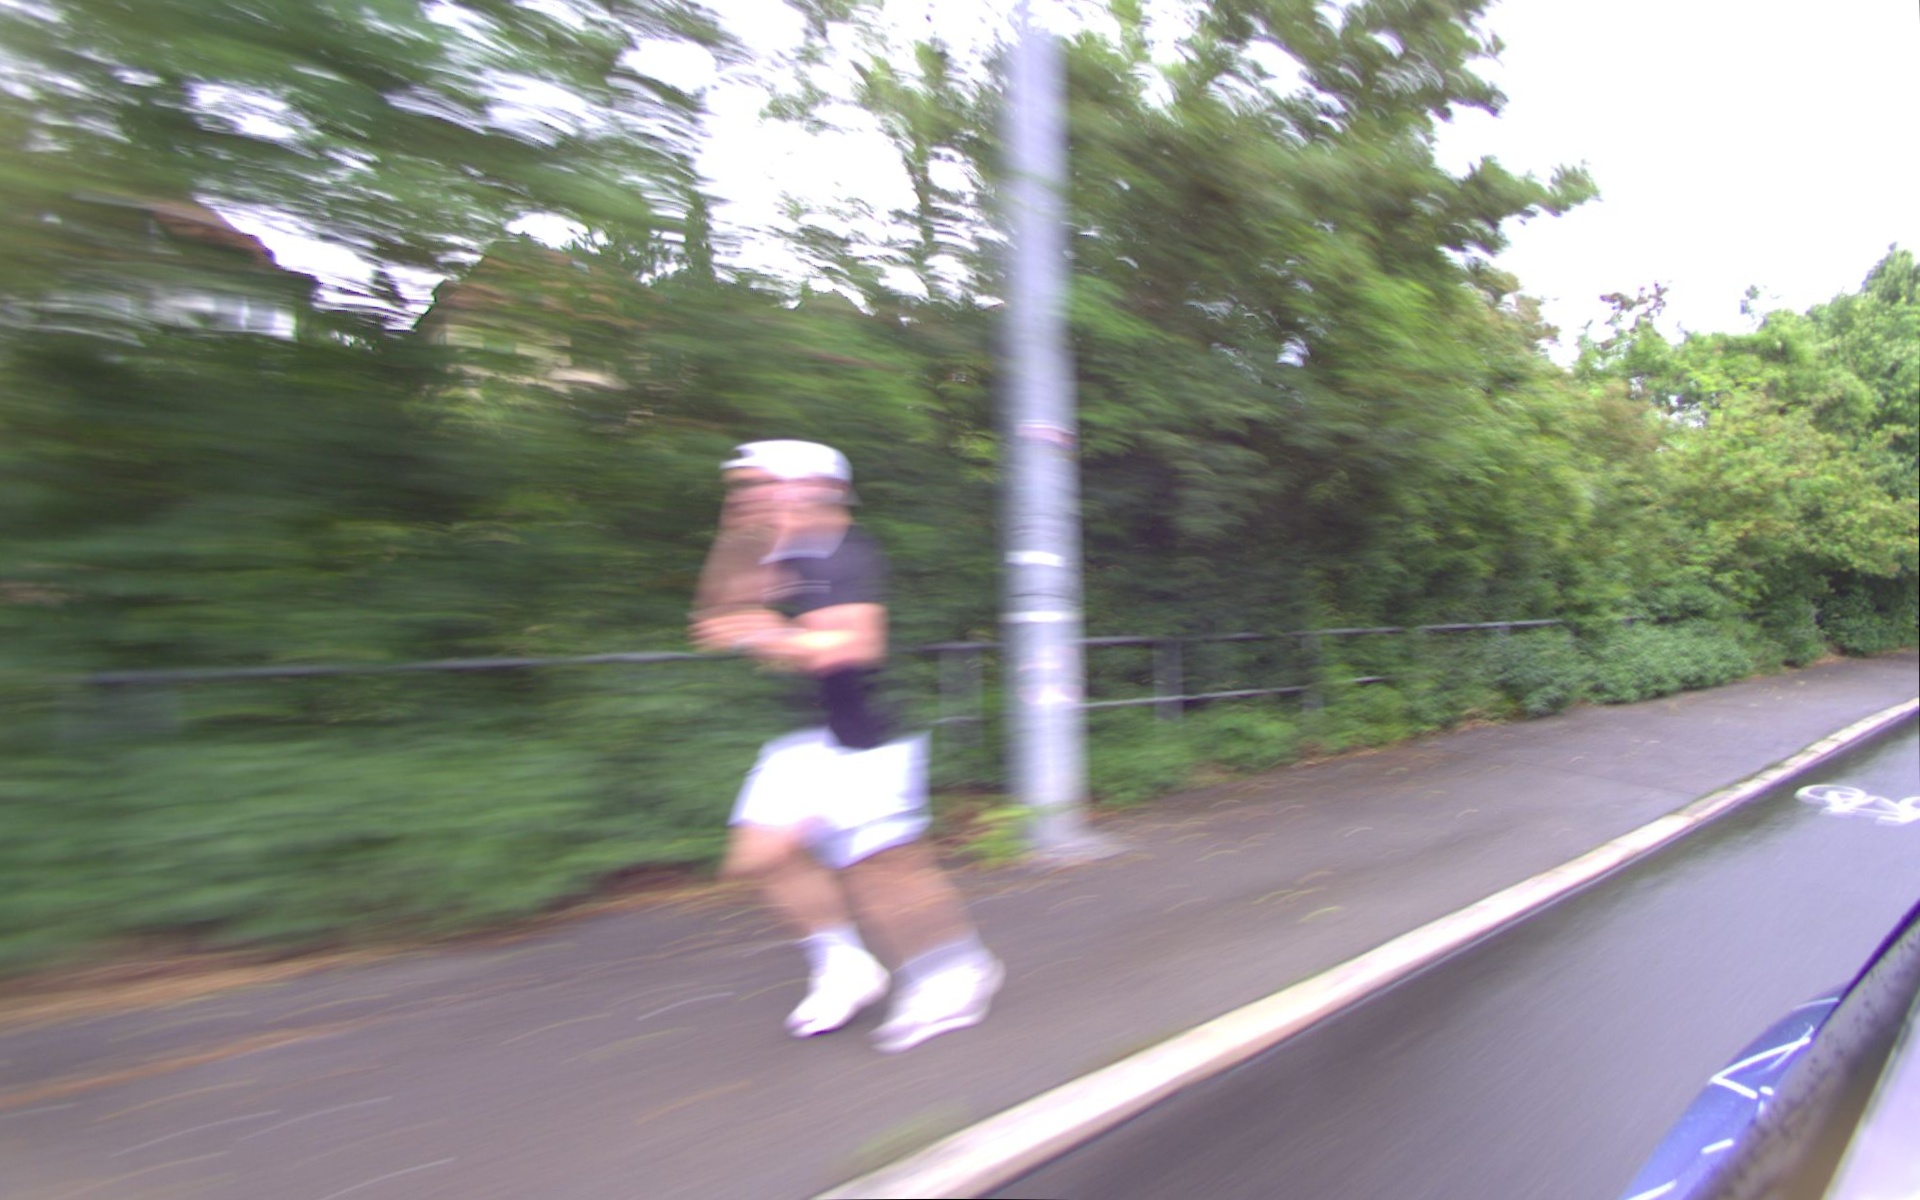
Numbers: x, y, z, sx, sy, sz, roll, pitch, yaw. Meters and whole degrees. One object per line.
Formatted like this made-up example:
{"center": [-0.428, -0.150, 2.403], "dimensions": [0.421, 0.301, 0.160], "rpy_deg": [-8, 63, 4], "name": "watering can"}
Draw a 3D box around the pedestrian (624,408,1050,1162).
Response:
{"center": [-0.374, 0.441, 3.066], "dimensions": [1.003, 1.857, 0.719], "rpy_deg": [0, 3, -38], "name": "pedestrian"}
